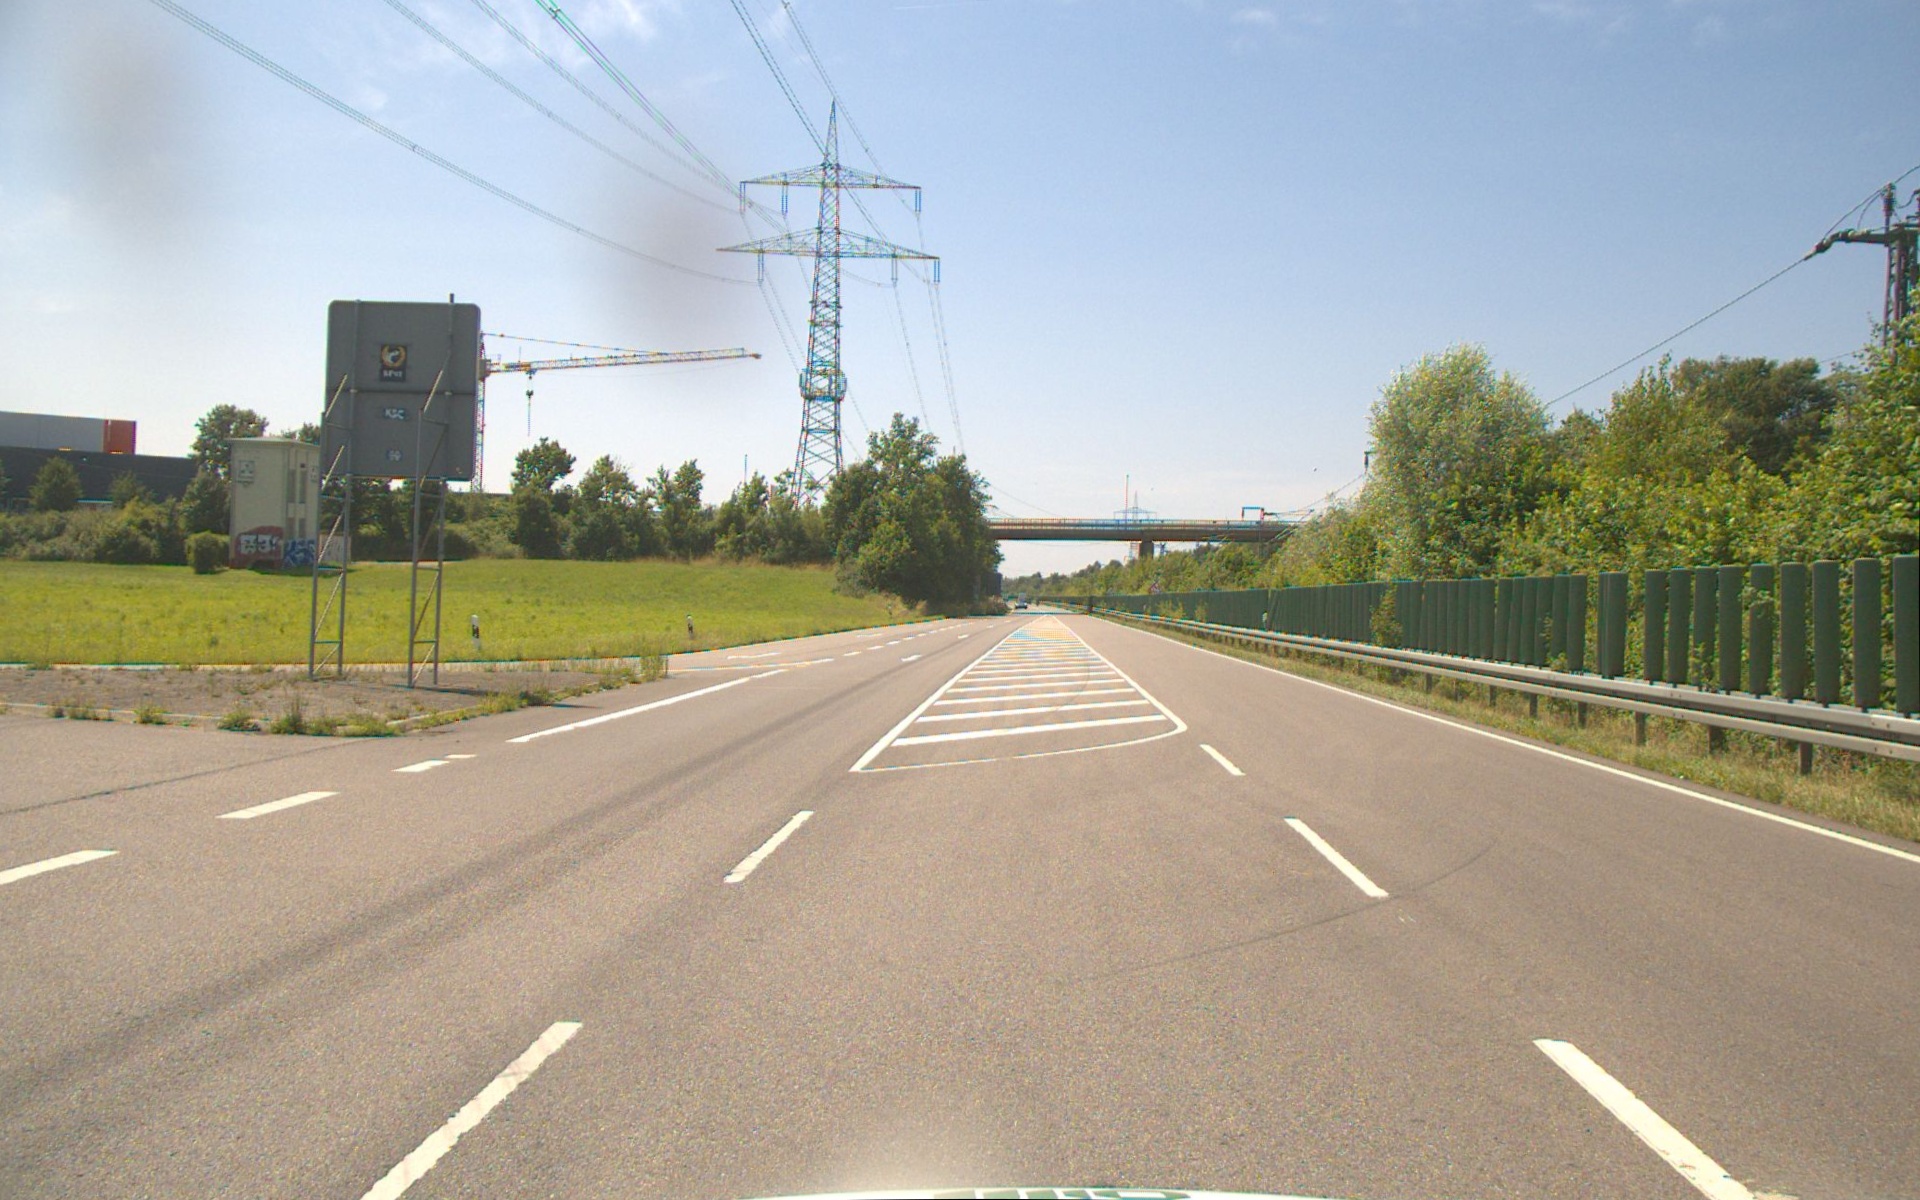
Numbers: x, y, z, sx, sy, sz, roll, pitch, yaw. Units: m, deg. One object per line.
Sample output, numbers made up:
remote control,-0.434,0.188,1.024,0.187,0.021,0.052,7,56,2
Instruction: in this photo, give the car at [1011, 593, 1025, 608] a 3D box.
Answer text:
car,8.551,0.104,244.257,1.952,2.049,4.001,2,0,2
